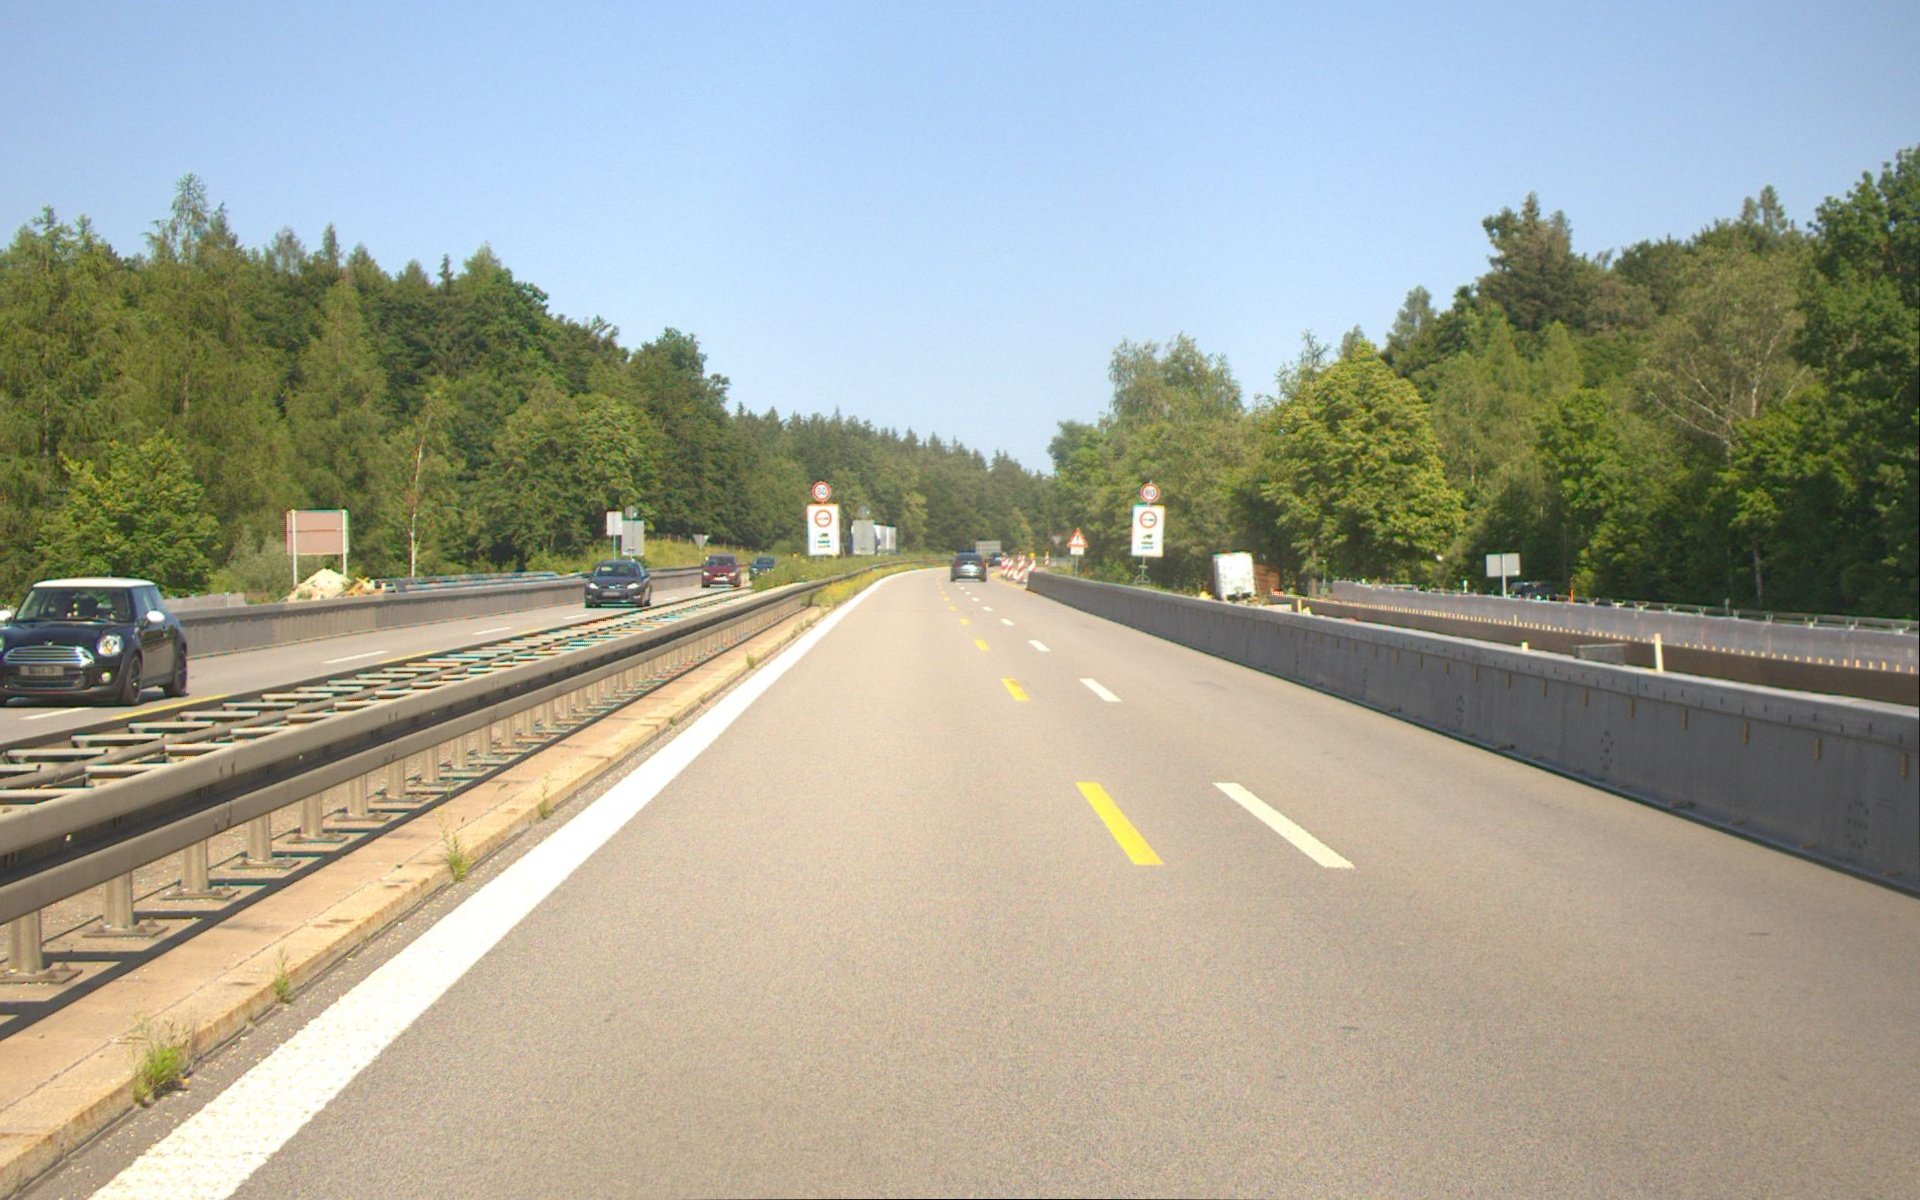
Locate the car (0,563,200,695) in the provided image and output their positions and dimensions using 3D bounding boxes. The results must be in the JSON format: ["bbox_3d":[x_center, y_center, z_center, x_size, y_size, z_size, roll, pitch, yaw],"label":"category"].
[{"bbox_3d":[-9.933,0.287,39.138,1.682,1.388,4.193,0,1,-1],"label":"car"}]

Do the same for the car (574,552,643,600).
[{"bbox_3d":[-11.096,-0.791,108.720,1.744,1.461,4.910,0,1,-1],"label":"car"}]

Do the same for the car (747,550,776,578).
[{"bbox_3d":[-12.067,-2.175,209.211,1.527,1.557,3.454,-2,-1,-1],"label":"car"}]

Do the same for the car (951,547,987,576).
[{"bbox_3d":[0.458,-1.997,176.067,1.744,1.461,4.294,0,1,-1],"label":"car"}]

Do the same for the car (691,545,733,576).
[{"bbox_3d":[-11.925,-1.912,165.521,1.744,1.461,4.294,0,1,-1],"label":"car"}]
